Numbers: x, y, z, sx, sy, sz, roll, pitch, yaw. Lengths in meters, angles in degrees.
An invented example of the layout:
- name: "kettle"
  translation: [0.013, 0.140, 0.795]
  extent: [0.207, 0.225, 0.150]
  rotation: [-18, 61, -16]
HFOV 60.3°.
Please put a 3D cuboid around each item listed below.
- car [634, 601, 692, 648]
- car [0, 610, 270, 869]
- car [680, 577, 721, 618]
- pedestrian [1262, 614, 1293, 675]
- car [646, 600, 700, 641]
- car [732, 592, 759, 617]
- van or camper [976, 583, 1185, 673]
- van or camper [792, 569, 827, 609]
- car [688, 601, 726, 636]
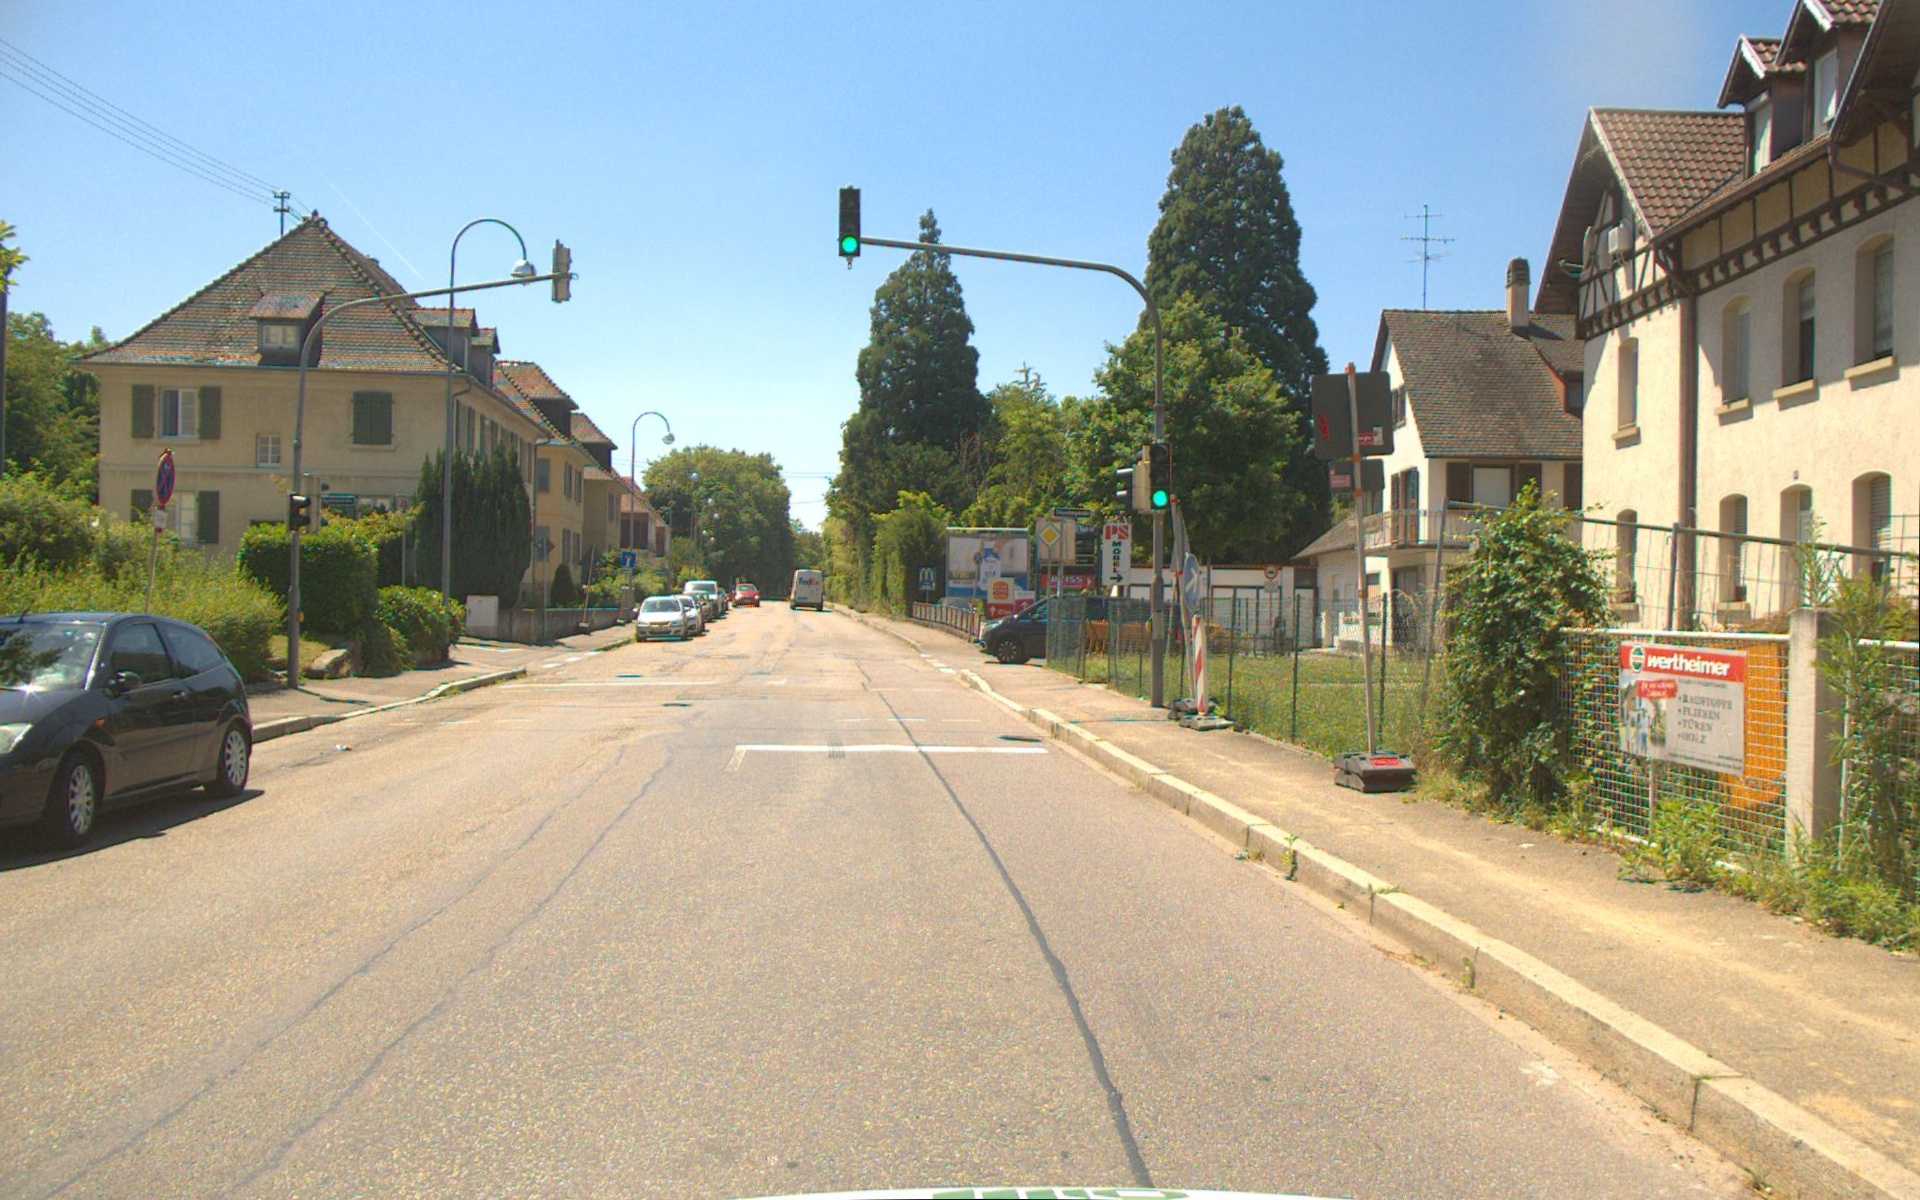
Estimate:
- name: "car"
  translation: [-9.884, 0.796, 55.231]
  extent: [1.726, 1.473, 3.917]
  rotation: [-1, 0, -8]
- name: "car"
  translation: [-6.202, 0.803, 11.169]
  extent: [1.648, 1.437, 3.923]
  rotation: [-1, 0, -4]
- name: "car"
  translation: [-13.344, -0.132, 85.176]
  extent: [1.842, 1.997, 4.619]
  rotation: [-1, 1, -7]
- name: "pedestrian"
  translation: [8.556, 1.199, 44.647]
  extent: [0.682, 1.628, 0.572]
  rotation: [0, 0, -6]
- name: "car"
  translation: [-10.432, 0.730, 60.267]
  extent: [1.761, 1.426, 4.211]
  rotation: [-1, 0, -8]
- name: "car"
  translation: [-14.456, 0.293, 111.571]
  extent: [1.779, 1.593, 3.691]
  rotation: [0, 0, -6]
- name: "van or camper"
  translation: [3.087, 0.691, 42.154]
  extent: [5.142, 2.049, 1.910]
  rotation: [2, 0, 6]
- name: "van or camper"
  translation: [-9.848, -0.702, 108.081]
  extent: [2.219, 2.572, 4.753]
  rotation: [0, 0, -6]
- name: "car"
  translation: [-12.011, 0.876, 78.704]
  extent: [1.655, 1.552, 4.056]
  rotation: [1, 0, -7]
